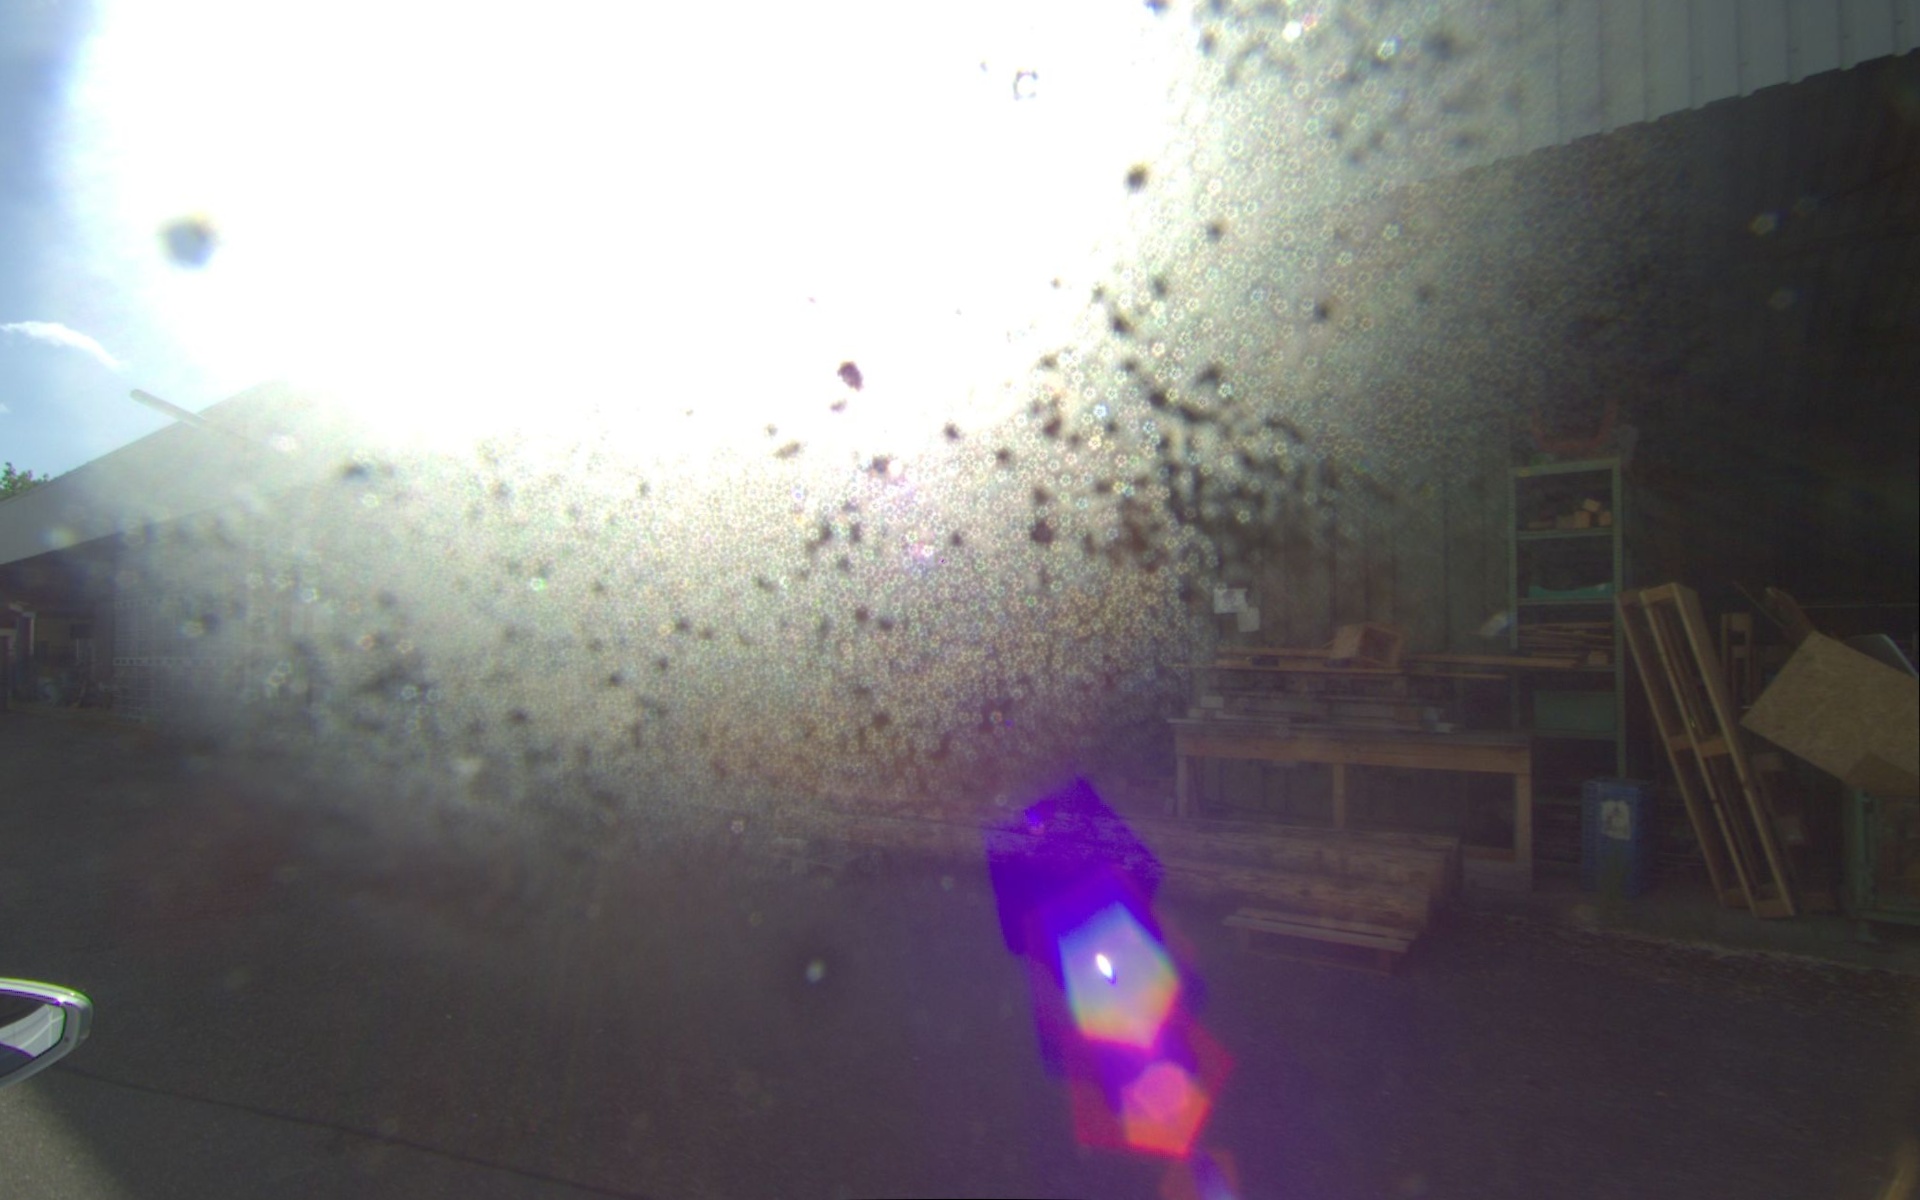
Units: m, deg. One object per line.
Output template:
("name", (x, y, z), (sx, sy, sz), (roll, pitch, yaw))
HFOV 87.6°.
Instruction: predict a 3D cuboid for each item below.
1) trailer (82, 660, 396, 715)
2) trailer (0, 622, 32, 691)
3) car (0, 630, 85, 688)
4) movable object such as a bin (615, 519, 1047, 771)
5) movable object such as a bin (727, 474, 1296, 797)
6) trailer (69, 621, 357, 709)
("trailer", (-17.218, 2.030, 24.303), (2.113, 1.147, 5.834), (-2, -4, 35))
("trailer", (-35.093, 2.021, 35.817), (1.706, 2.427, 2.515), (-3, -5, 38))
("car", (-40.637, 2.531, 42.857), (1.893, 2.335, 4.421), (-4, -7, 38))
("movable object such as a bin", (-1.602, 0.745, 15.088), (2.979, 2.945, 6.167), (-2, -4, 38))
("movable object such as a bin", (1.466, 0.619, 13.748), (3.172, 2.945, 9.165), (-2, -4, 38))
("trailer", (-19.534, 1.697, 26.505), (2.052, 2.057, 5.747), (-2, -4, 38))
